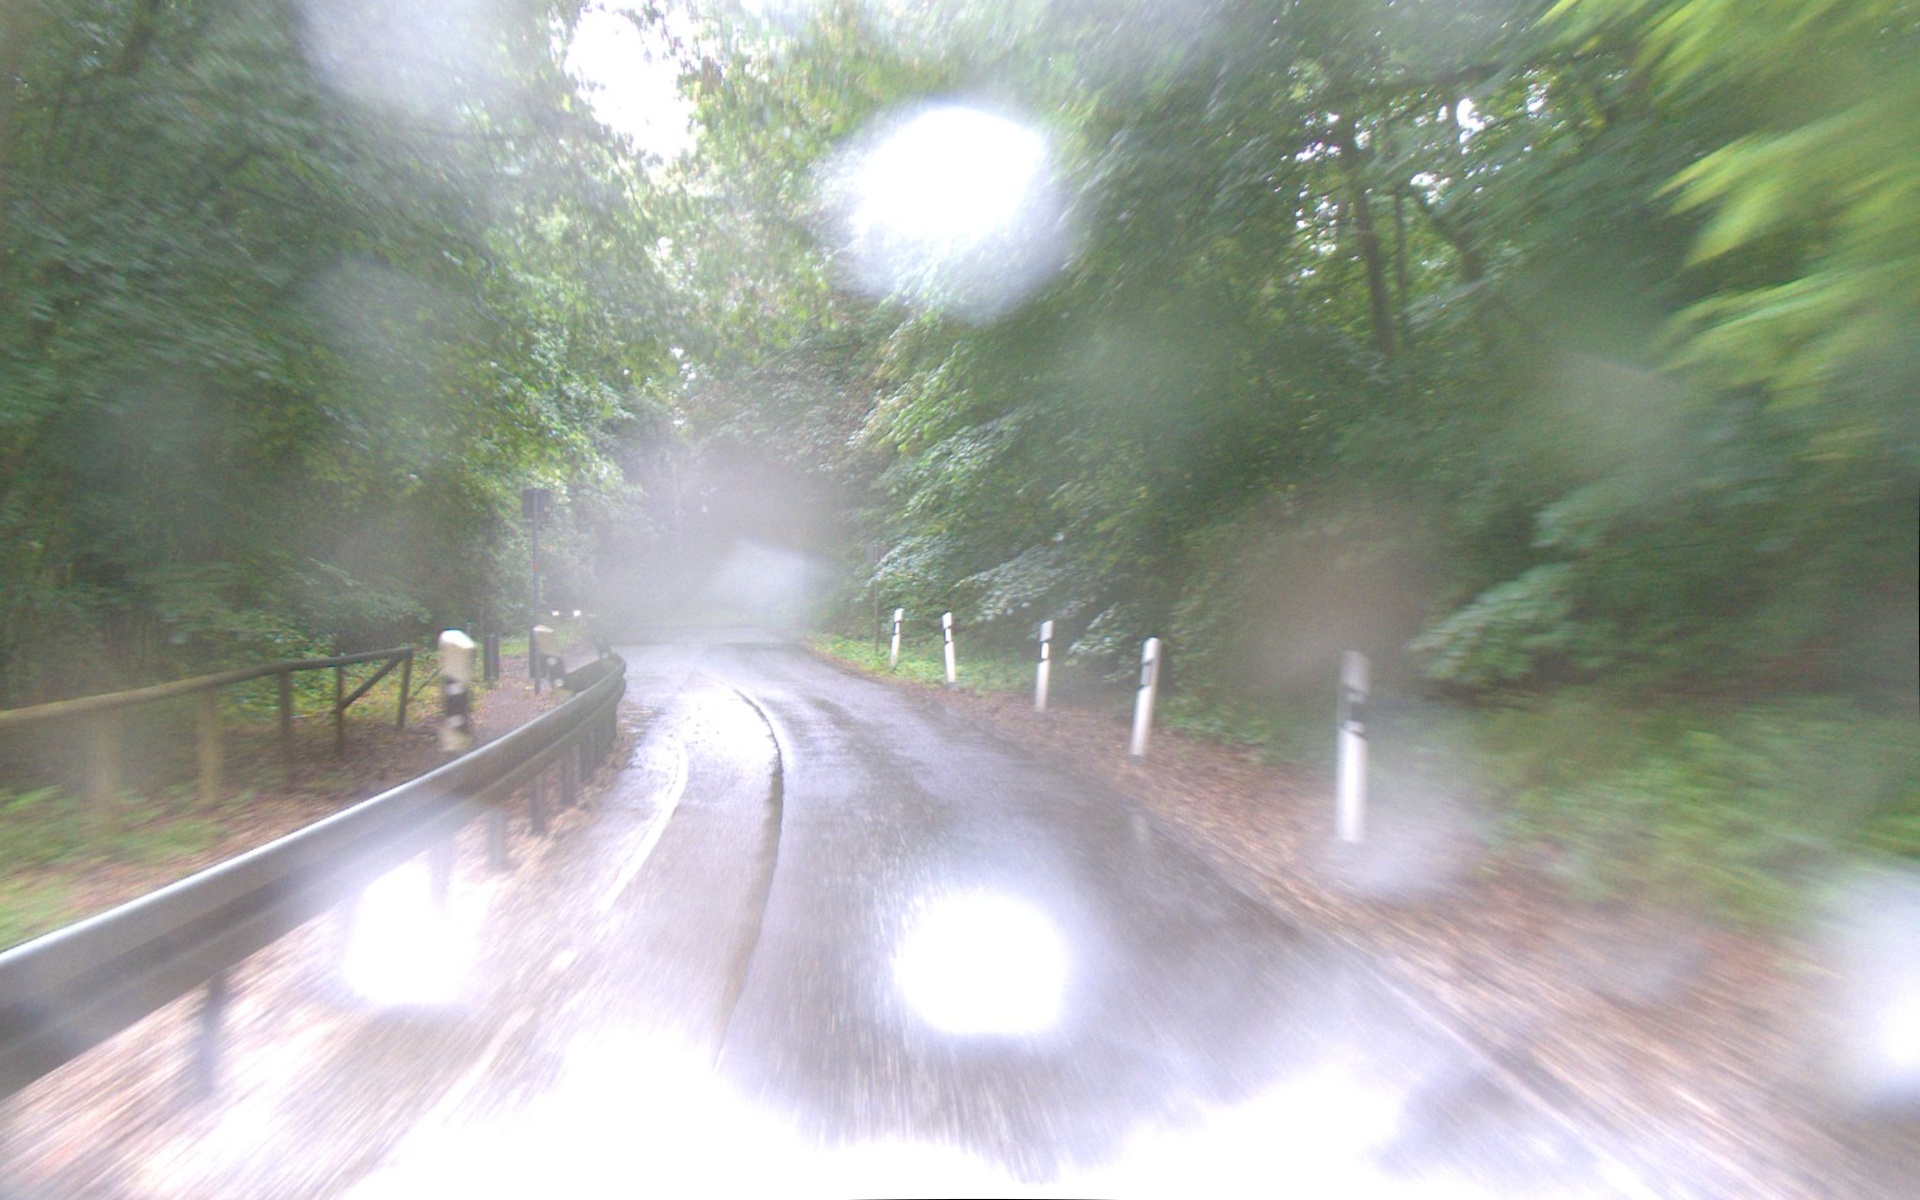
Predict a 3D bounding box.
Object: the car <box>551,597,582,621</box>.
[{"bbox_3d":[-25.330,0.586,106.375,1.687,1.501,3.872,0,0,-17],"label":"car"}]
